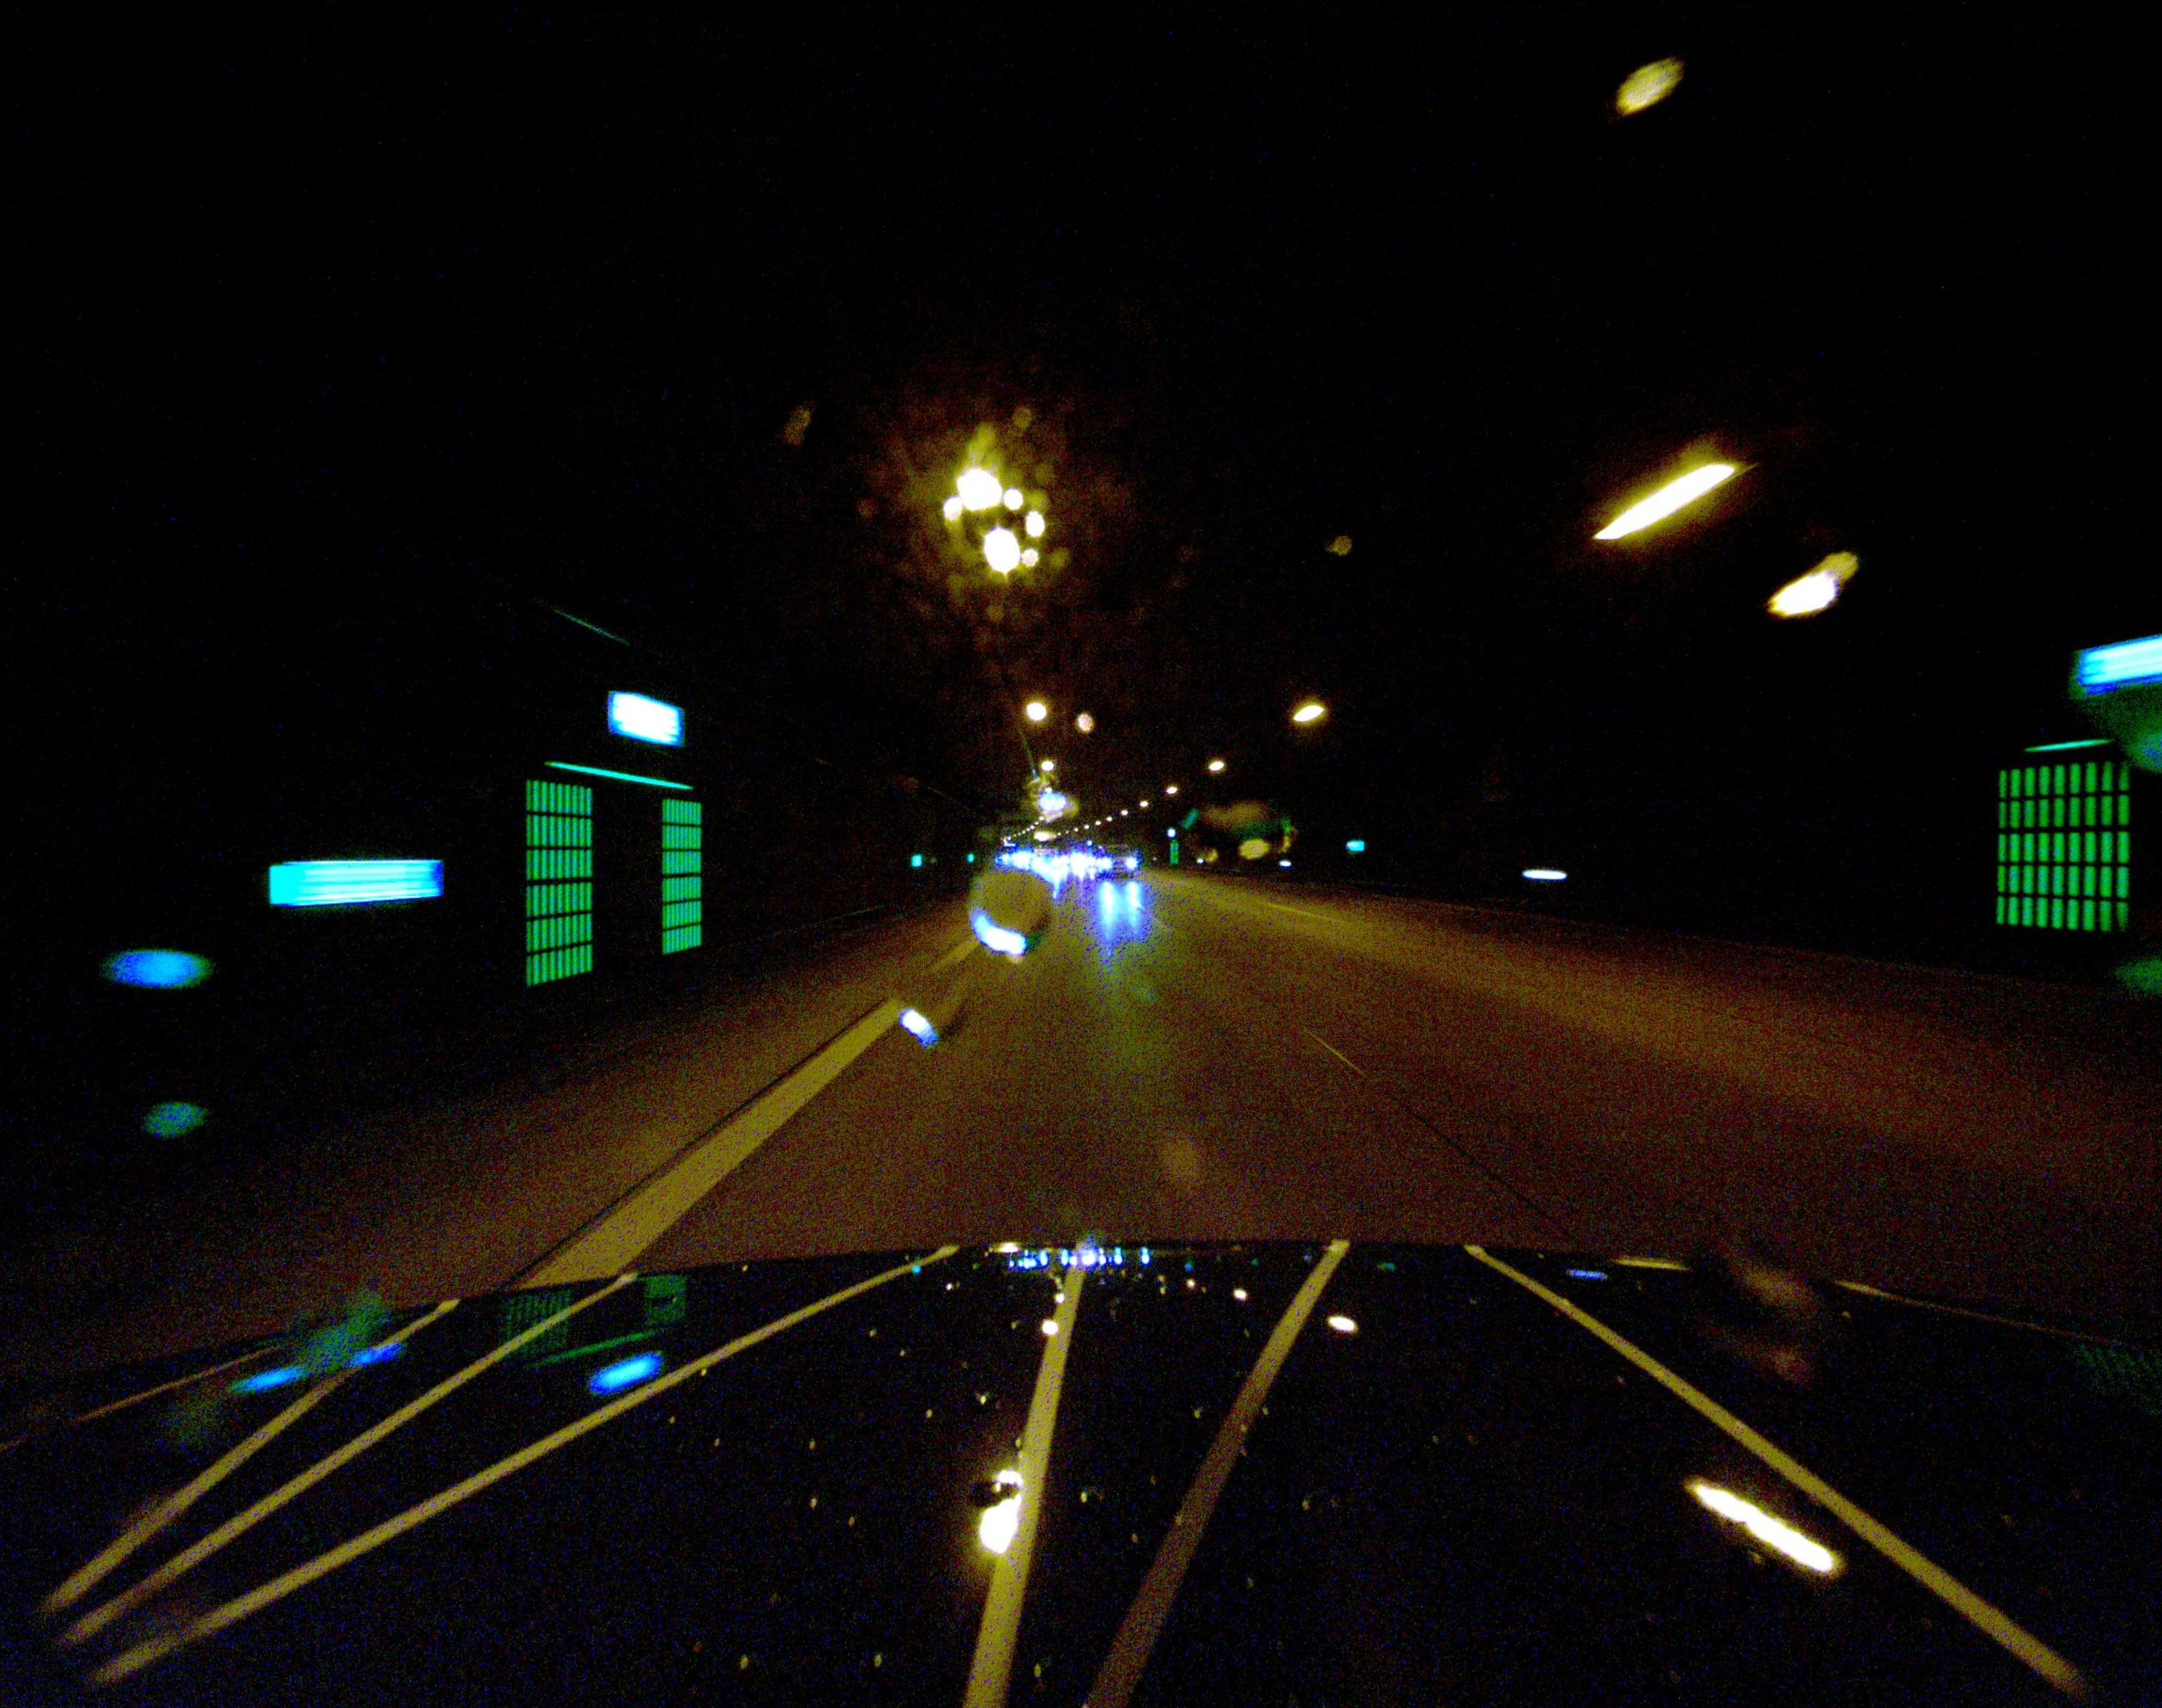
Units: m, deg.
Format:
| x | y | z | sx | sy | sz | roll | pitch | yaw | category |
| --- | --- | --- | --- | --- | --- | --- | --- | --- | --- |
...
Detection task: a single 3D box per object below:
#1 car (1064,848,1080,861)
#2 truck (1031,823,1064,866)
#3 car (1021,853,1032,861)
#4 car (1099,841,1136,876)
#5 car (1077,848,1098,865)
| x | y | z | sx | sy | sz | roll | pitch | yaw | category |
| --- | --- | --- | --- | --- | --- | --- | --- | --- | --- |
| -1.210 | 0.081 | 97.865 | 1.759 | 1.567 | 3.998 | -2 | 0 | -5 | car |
| -3.551 | -1.014 | 79.868 | 3.143 | 4.136 | 7.385 | -2 | 1 | -3 | truck |
| -12.472 | 0.654 | 174.146 | 2.000 | 1.729 | 3.997 | -2 | 0 | -9 | car |
| 2.198 | 0.342 | 46.772 | 1.999 | 2.001 | 4.361 | -2 | -1 | -1 | car |
| 0.614 | 0.265 | 77.629 | 1.910 | 1.637 | 3.999 | -2 | 0 | -3 | car |
